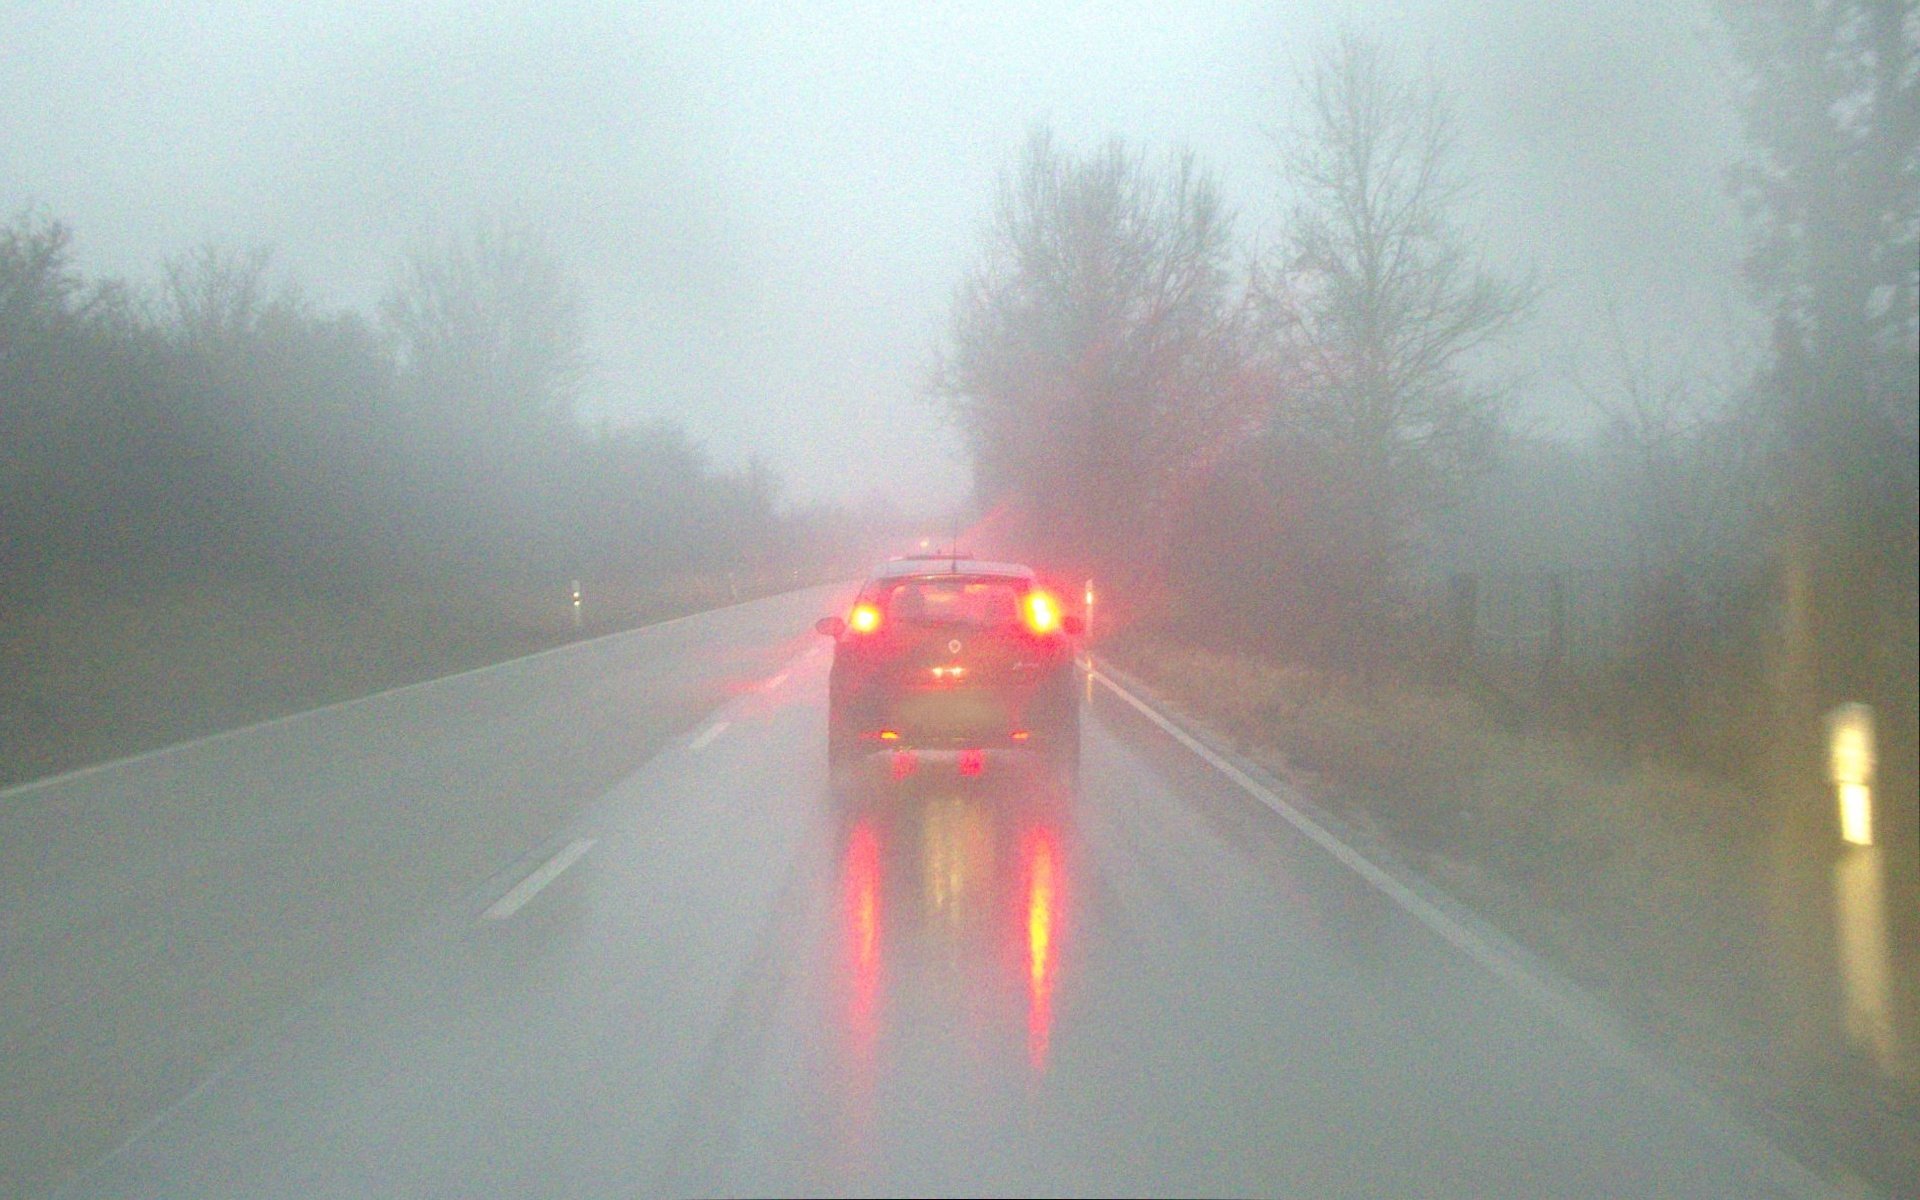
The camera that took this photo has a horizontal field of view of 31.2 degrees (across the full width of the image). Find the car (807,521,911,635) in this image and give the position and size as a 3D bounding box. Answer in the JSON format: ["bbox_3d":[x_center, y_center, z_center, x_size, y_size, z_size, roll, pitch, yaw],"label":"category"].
[{"bbox_3d":[-1.704,-0.402,59.055,1.574,1.868,3.709,1,1,1],"label":"car"}]

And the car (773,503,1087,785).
[{"bbox_3d":[-0.156,0.249,24.112,1.993,1.778,4.000,1,1,1],"label":"car"}]

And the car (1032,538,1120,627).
[{"bbox_3d":[2.170,-0.343,64.038,1.564,1.586,3.488,1,1,2],"label":"car"}]
